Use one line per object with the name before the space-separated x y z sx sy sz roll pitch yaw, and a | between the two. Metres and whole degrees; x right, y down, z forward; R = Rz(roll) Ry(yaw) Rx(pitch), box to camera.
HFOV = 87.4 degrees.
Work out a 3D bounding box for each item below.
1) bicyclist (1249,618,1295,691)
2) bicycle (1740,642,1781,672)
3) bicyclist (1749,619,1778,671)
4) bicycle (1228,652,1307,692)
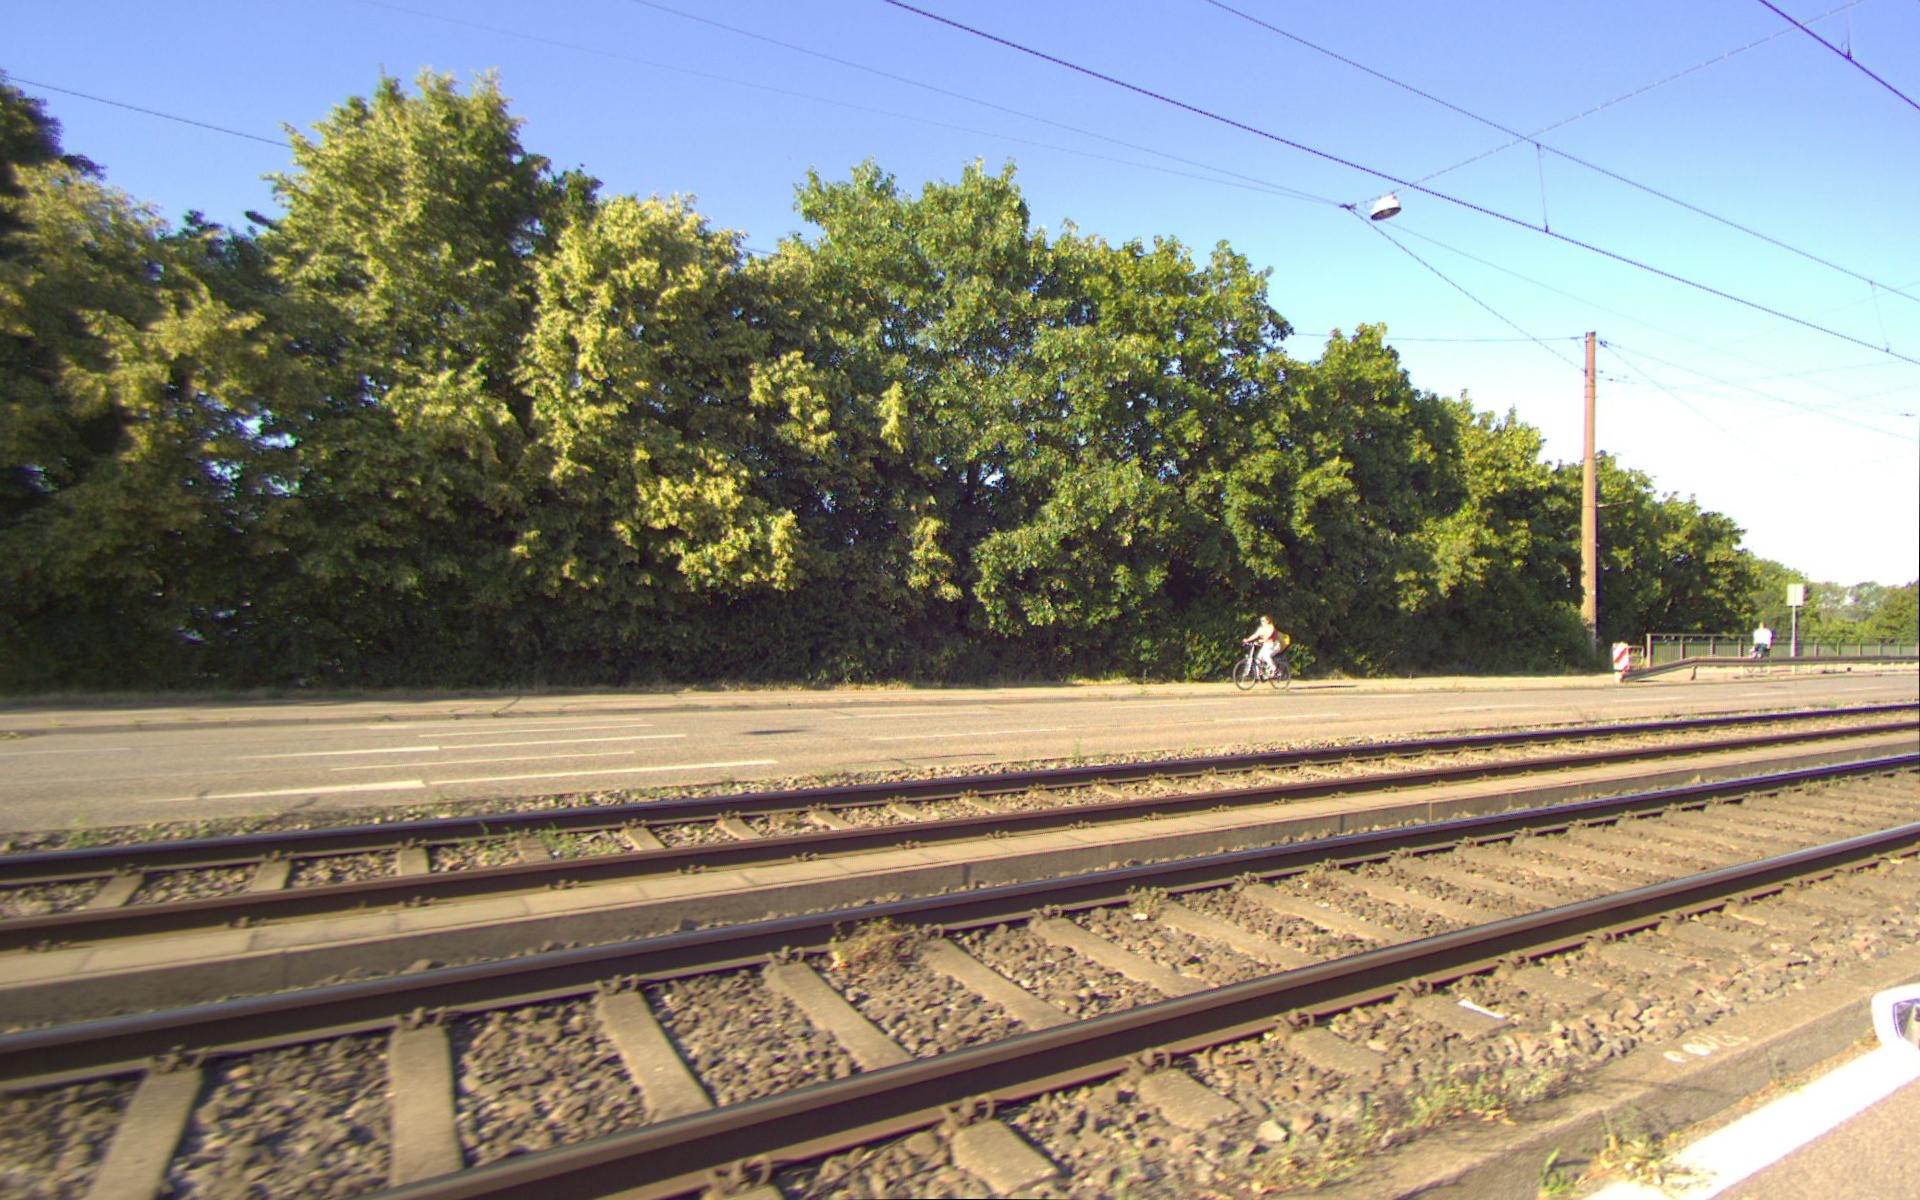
bicyclist | 7.453 1.292 23.996 0.907 1.710 0.506 2 1 -27
bicycle | 29.980 2.136 37.602 1.903 1.057 0.537 2 1 -31
bicyclist | 30.164 1.691 37.699 0.865 1.887 0.537 1 1 -30
bicycle | 7.336 1.703 23.947 2.001 0.904 0.505 2 1 -28
